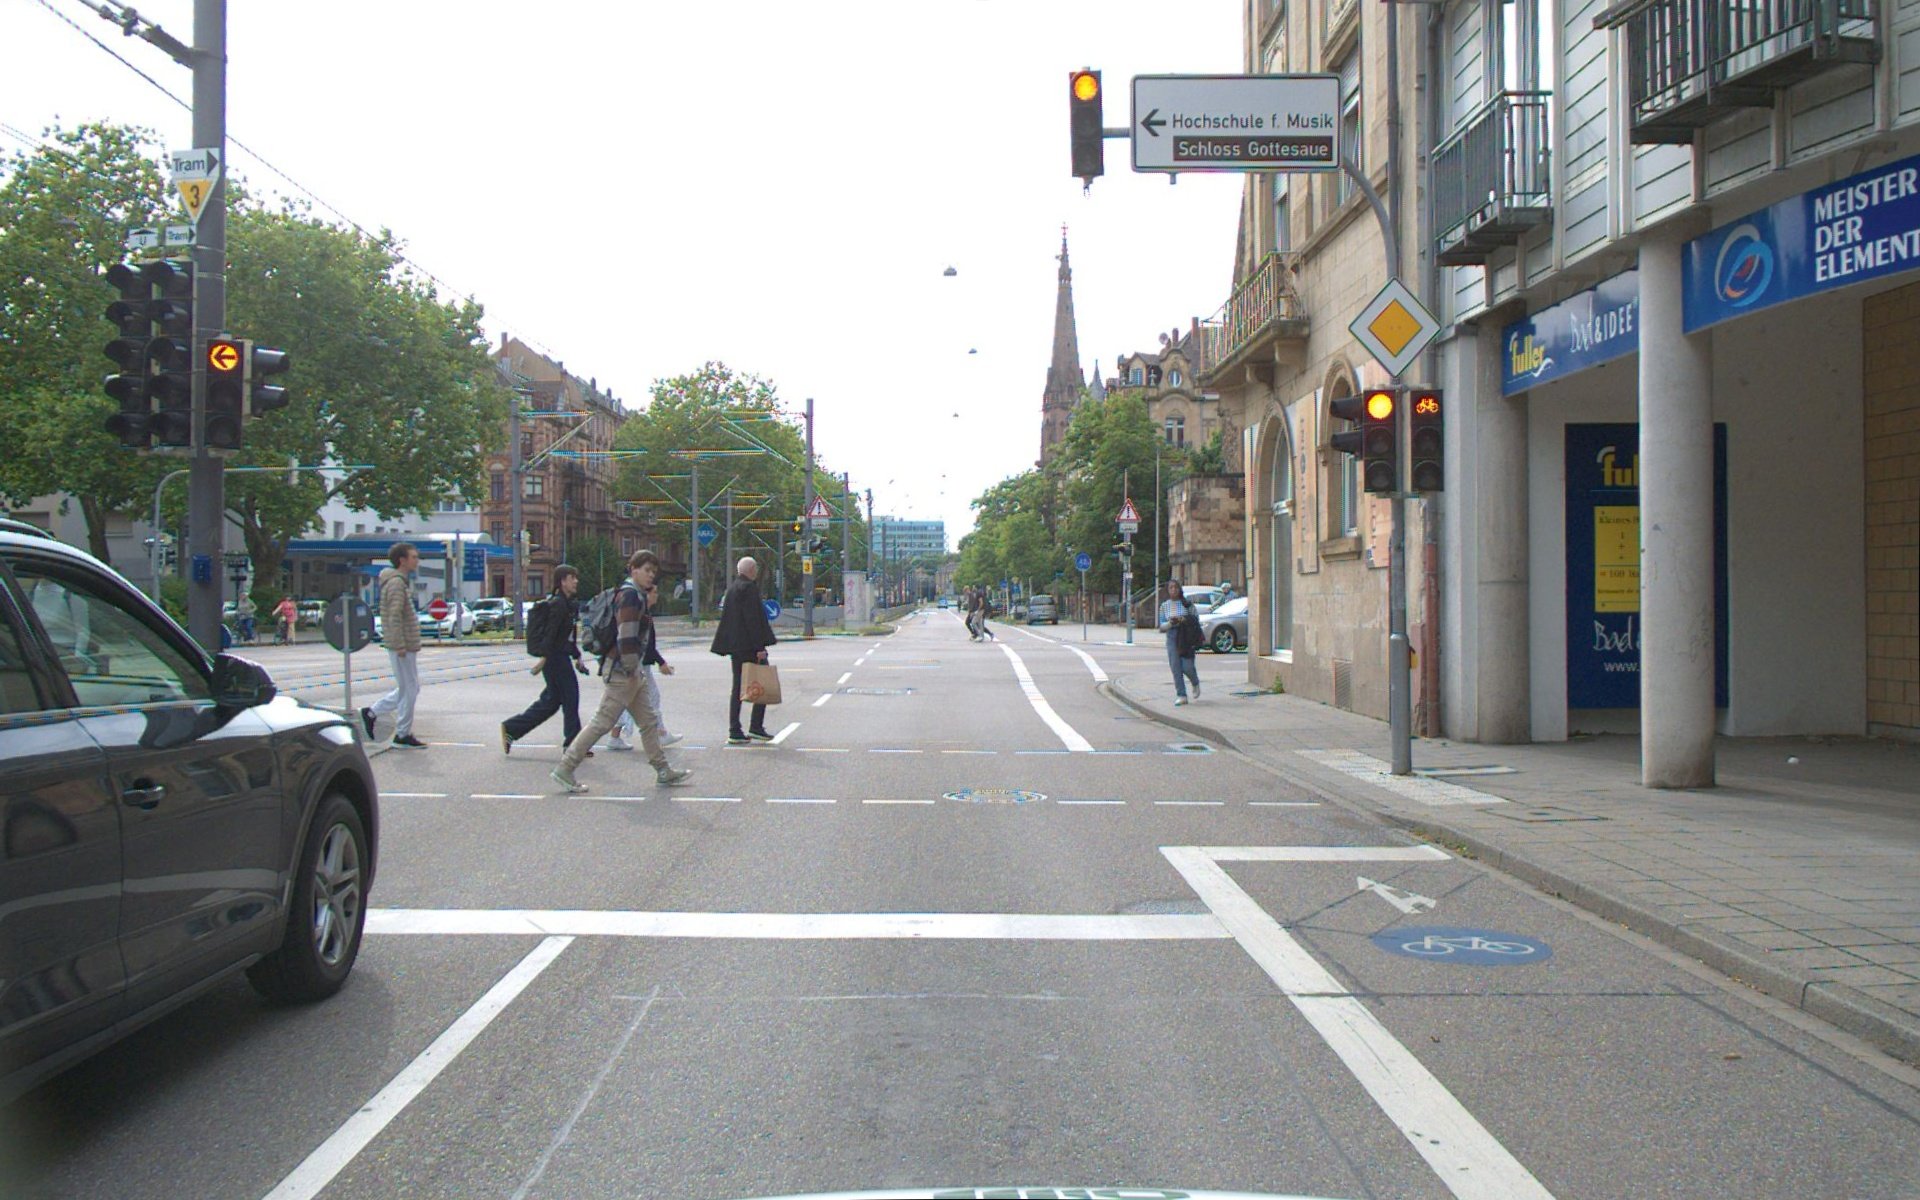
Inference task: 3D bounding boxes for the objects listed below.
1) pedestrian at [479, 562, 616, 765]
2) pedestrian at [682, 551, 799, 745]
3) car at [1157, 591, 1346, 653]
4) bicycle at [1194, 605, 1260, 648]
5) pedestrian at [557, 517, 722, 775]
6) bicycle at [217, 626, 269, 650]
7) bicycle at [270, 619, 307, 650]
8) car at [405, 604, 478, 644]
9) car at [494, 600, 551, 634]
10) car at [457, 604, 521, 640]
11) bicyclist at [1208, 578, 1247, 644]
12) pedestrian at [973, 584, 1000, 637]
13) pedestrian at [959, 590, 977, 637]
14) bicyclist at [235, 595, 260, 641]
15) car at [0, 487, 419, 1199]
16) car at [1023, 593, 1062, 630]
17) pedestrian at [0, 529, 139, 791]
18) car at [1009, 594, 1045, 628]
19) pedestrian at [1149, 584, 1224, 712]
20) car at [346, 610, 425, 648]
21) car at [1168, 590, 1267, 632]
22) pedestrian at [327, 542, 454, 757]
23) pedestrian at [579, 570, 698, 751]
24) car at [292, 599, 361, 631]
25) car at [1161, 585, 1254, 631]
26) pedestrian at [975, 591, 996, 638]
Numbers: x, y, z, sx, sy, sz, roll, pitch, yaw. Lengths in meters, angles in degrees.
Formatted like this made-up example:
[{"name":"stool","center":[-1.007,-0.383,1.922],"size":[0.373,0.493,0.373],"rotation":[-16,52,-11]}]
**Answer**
[{"name":"pedestrian","center":[-3.564,0.527,14.326],"size":[0.614,1.681,0.995],"rotation":[1,0,30]},{"name":"pedestrian","center":[-2.124,0.443,16.007],"size":[0.900,1.815,0.645],"rotation":[1,-1,37]},{"name":"car","center":[7.647,0.573,43.342],"size":[4.653,1.536,1.826],"rotation":[1,0,-23]},{"name":"bicycle","center":[7.548,0.753,46.723],"size":[1.880,1.162,0.622],"rotation":[1,0,-30]},{"name":"pedestrian","center":[-2.340,0.326,12.057],"size":[1.113,1.810,0.625],"rotation":[0,-1,-19]},{"name":"bicycle","center":[-24.934,1.306,57.518],"size":[1.645,0.786,0.656],"rotation":[1,0,20]},{"name":"bicycle","center":[-23.546,1.210,58.025],"size":[0.511,1.035,1.936],"rotation":[1,0,-1]},{"name":"car","center":[-21.440,0.973,68.551],"size":[1.856,1.585,3.835],"rotation":[1,0,-1]},{"name":"car","center":[-21.729,0.831,82.211],"size":[1.856,1.585,3.835],"rotation":[1,0,-1]},{"name":"car","center":[-21.443,0.990,75.386],"size":[1.856,1.585,3.835],"rotation":[1,0,-1]},{"name":"bicyclist","center":[7.573,0.312,46.755],"size":[0.955,1.851,0.527],"rotation":[1,-1,-30]},{"name":"pedestrian","center":[0.847,0.345,53.391],"size":[0.834,1.683,0.508],"rotation":[1,0,-3]},{"name":"pedestrian","center":[0.274,0.459,55.824],"size":[0.535,1.564,0.465],"rotation":[1,0,-5]},{"name":"bicyclist","center":[-24.812,0.619,57.601],"size":[0.576,1.595,0.618],"rotation":[1,0,-1]},{"name":"car","center":[-3.002,0.567,4.316],"size":[1.842,1.629,4.356],"rotation":[0,0,-2]},{"name":"car","center":[4.649,0.641,93.703],"size":[1.953,2.049,3.999],"rotation":[1,0,-1]},{"name":"pedestrian","center":[-6.063,0.387,11.075],"size":[0.738,1.690,0.730],"rotation":[1,0,-1]},{"name":"car","center":[4.158,0.656,103.128],"size":[1.953,2.049,3.999],"rotation":[1,0,-1]},{"name":"pedestrian","center":[3.105,0.645,22.639],"size":[0.659,1.709,0.865],"rotation":[1,-1,38]},{"name":"car","center":[-21.464,1.053,61.966],"size":[1.601,1.348,3.999],"rotation":[1,0,-1]},{"name":"car","center":[10.633,0.441,68.468],"size":[3.721,1.629,2.000],"rotation":[1,0,-1]},{"name":"pedestrian","center":[-5.055,0.433,14.682],"size":[0.998,1.845,0.580],"rotation":[1,0,-24]},{"name":"pedestrian","center":[-2.980,0.539,15.355],"size":[0.689,1.621,0.828],"rotation":[1,-1,36]},{"name":"car","center":[-31.909,0.734,83.383],"size":[1.953,1.557,3.999],"rotation":[1,0,-1]},{"name":"car","center":[10.741,0.345,71.881],"size":[3.721,1.937,2.000],"rotation":[1,0,-1]},{"name":"pedestrian","center":[0.853,0.478,55.357],"size":[0.640,1.564,0.465],"rotation":[1,0,-5]}]
